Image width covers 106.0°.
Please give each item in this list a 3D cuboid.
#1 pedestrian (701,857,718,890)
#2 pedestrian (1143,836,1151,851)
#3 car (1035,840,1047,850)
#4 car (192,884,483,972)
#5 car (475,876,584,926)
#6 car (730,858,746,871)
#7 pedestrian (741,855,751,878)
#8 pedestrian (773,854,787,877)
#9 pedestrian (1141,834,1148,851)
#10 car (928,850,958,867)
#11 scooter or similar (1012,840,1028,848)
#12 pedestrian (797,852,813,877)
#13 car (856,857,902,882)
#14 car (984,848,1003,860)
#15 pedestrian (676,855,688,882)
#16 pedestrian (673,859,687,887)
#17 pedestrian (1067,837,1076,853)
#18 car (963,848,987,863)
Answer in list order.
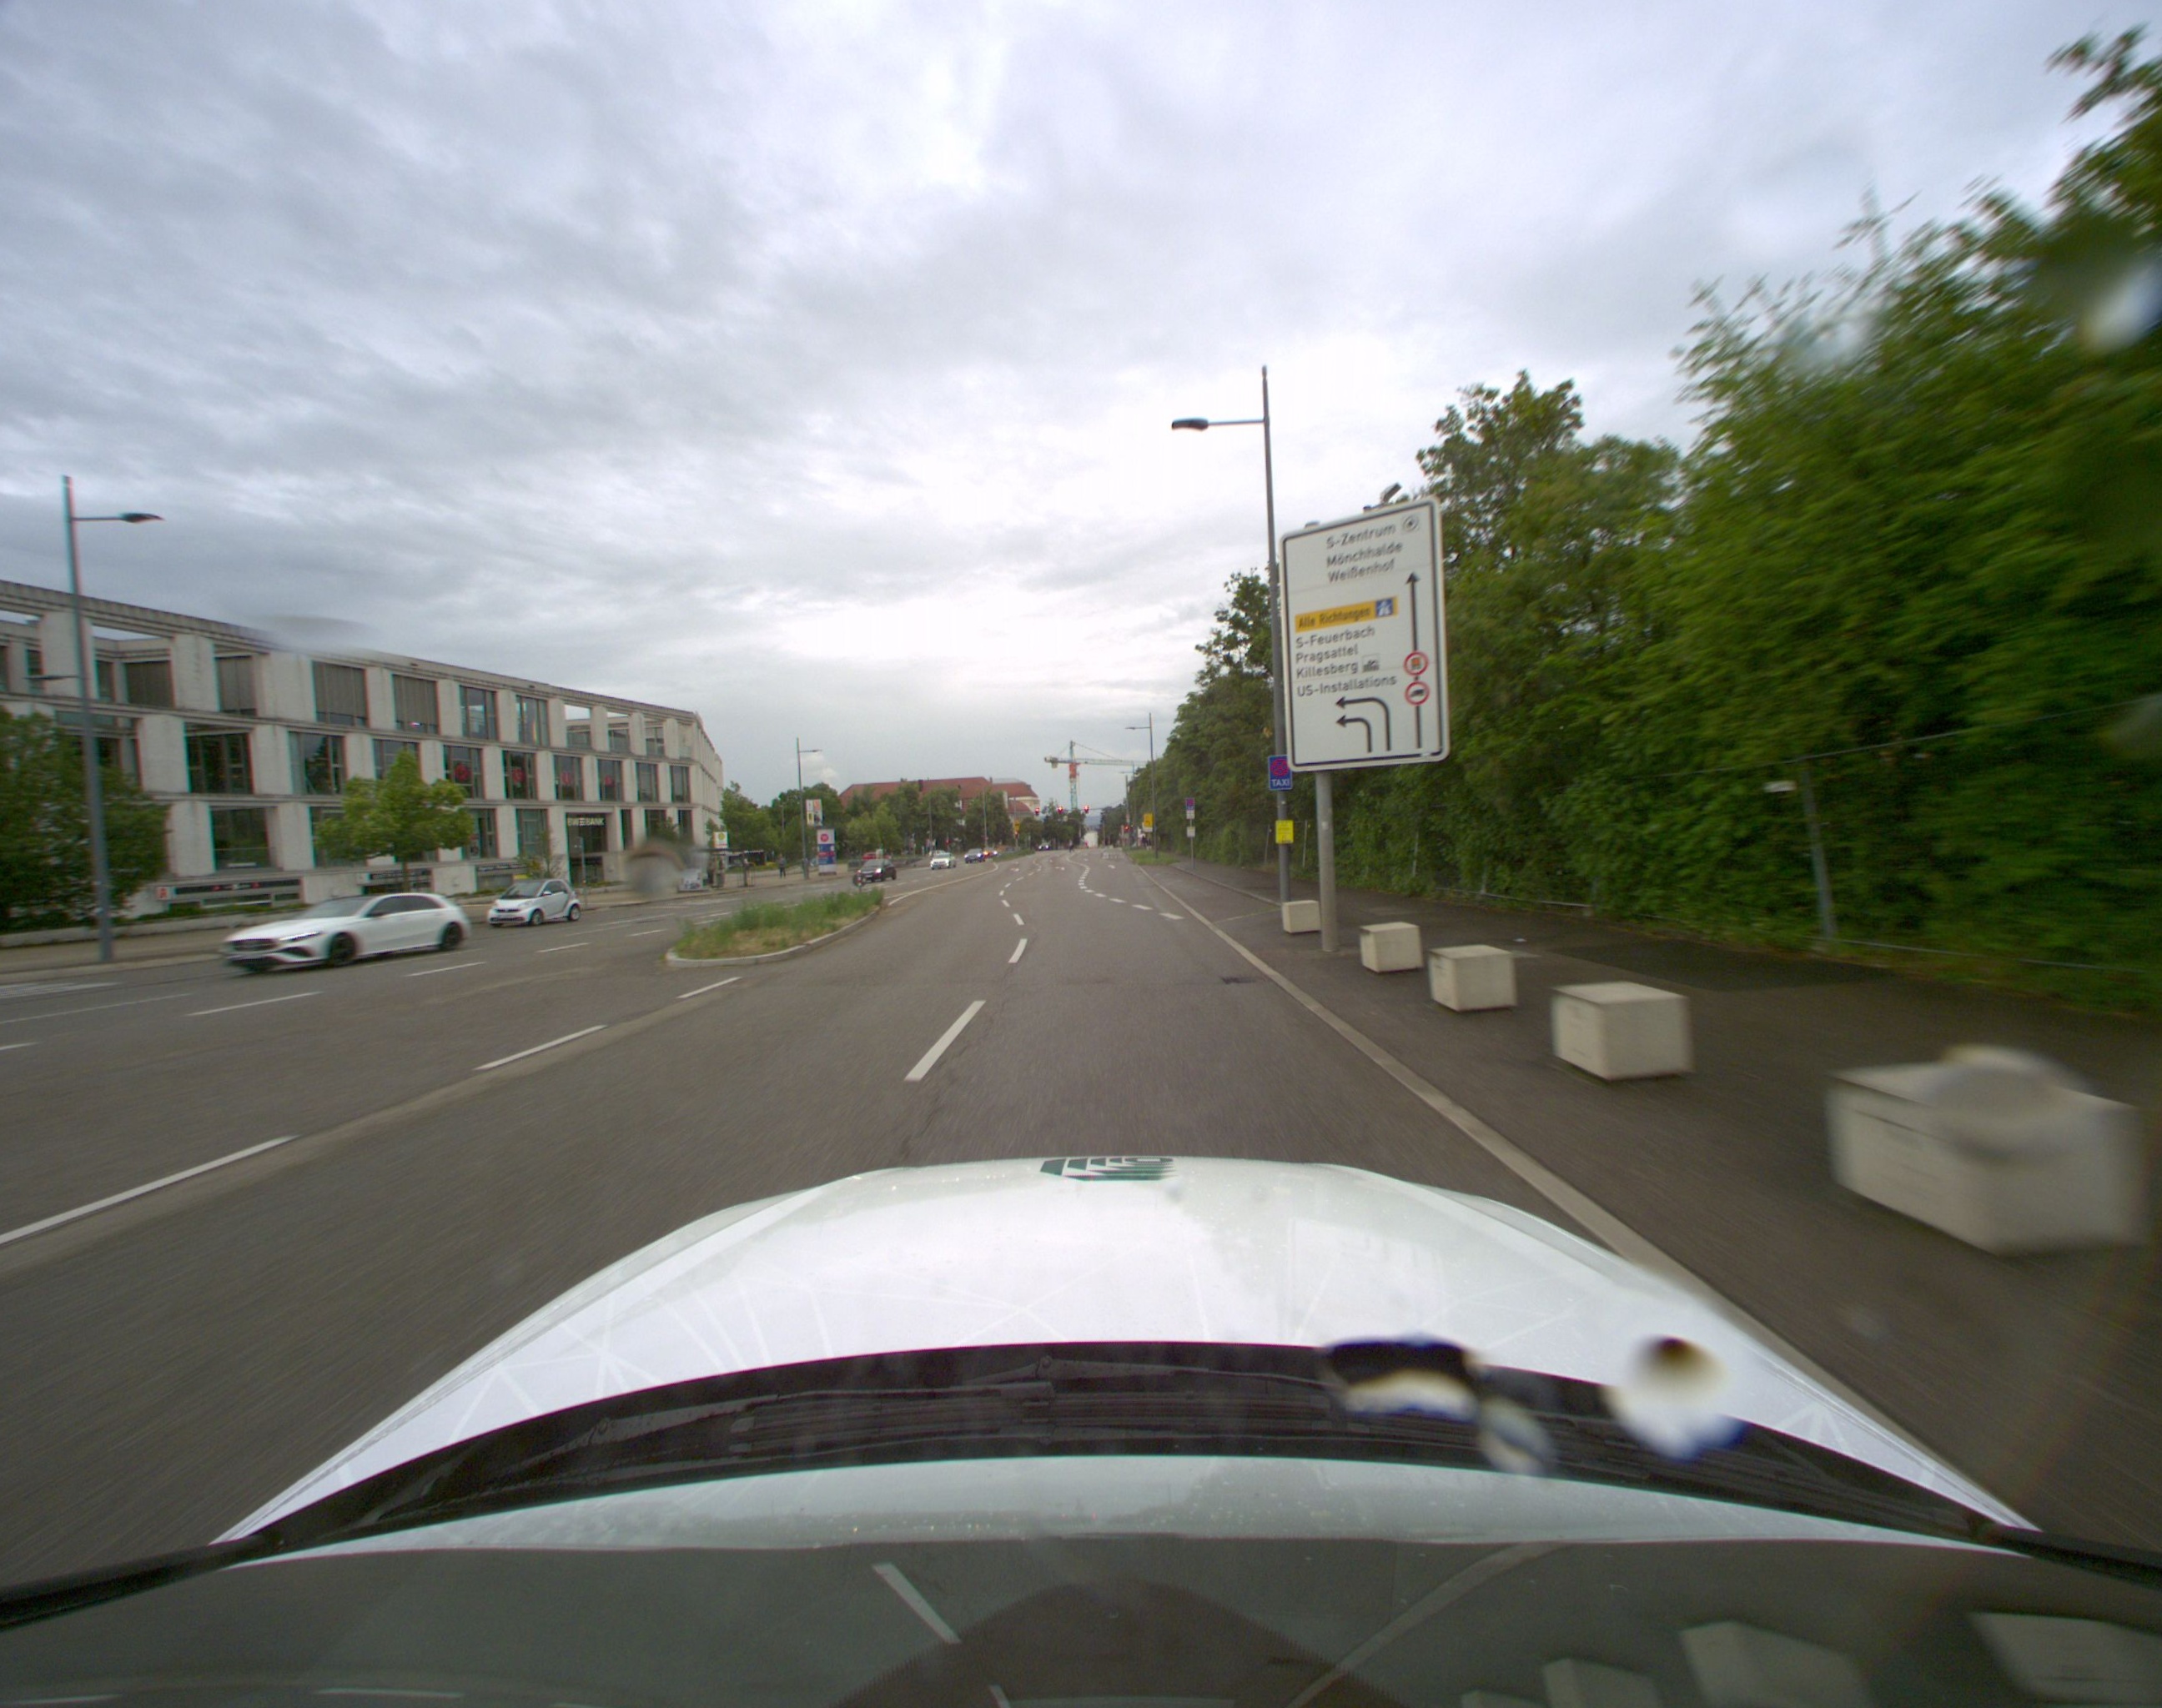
[{"bbox_3d":[-21.214,1.122,46.509,0.505,1.842,0.756,-2,0,1],"label":"pedestrian"},{"bbox_3d":[7.266,-1.170,89.264,0.674,1.657,0.792,-3,1,-4],"label":"pedestrian"},{"bbox_3d":[-7.610,-1.683,155.818,1.987,1.838,4.000,-1,-1,1],"label":"car"},{"bbox_3d":[-15.676,1.486,17.606,1.986,1.418,4.515,-2,0,2],"label":"car"},{"bbox_3d":[-18.850,1.559,27.978,1.607,1.508,2.974,-1,0,2],"label":"car"},{"bbox_3d":[-49.316,1.462,117.050,1.783,1.731,3.966,-3,1,-26],"label":"car"},{"bbox_3d":[-25.329,0.922,61.631,0.498,1.690,0.911,-2,0,-15],"label":"pedestrian"},{"bbox_3d":[-23.312,0.899,63.076,0.596,1.762,0.858,-2,0,4],"label":"pedestrian"},{"bbox_3d":[7.267,-1.313,93.630,0.639,1.900,0.717,-3,1,-4],"label":"pedestrian"},{"bbox_3d":[-12.971,0.423,76.747,1.866,1.429,4.178,-5,0,2],"label":"car"},{"bbox_3d":[-12.463,-2.086,166.792,3.078,1.440,0.949,-3,1,0],"label":"scooter or similar"},{"bbox_3d":[-20.260,0.765,59.774,0.750,1.842,0.747,-2,0,4],"label":"pedestrian"},{"bbox_3d":[-13.255,0.961,53.561,1.839,1.462,3.869,-3,0,2],"label":"car"},{"bbox_3d":[-12.251,-0.025,114.232,1.825,1.416,4.468,-5,1,2],"label":"car"},{"bbox_3d":[-26.562,0.961,54.247,0.424,1.725,0.621,-2,0,2],"label":"pedestrian"},{"bbox_3d":[-25.805,1.218,52.422,0.522,1.725,0.567,-2,0,4],"label":"pedestrian"},{"bbox_3d":[-1.243,-1.191,106.499,0.935,2.013,0.849,-5,0,7],"label":"pedestrian"},{"bbox_3d":[-12.312,0.198,94.765,1.825,1.572,4.595,-5,0,2],"label":"car"}]
